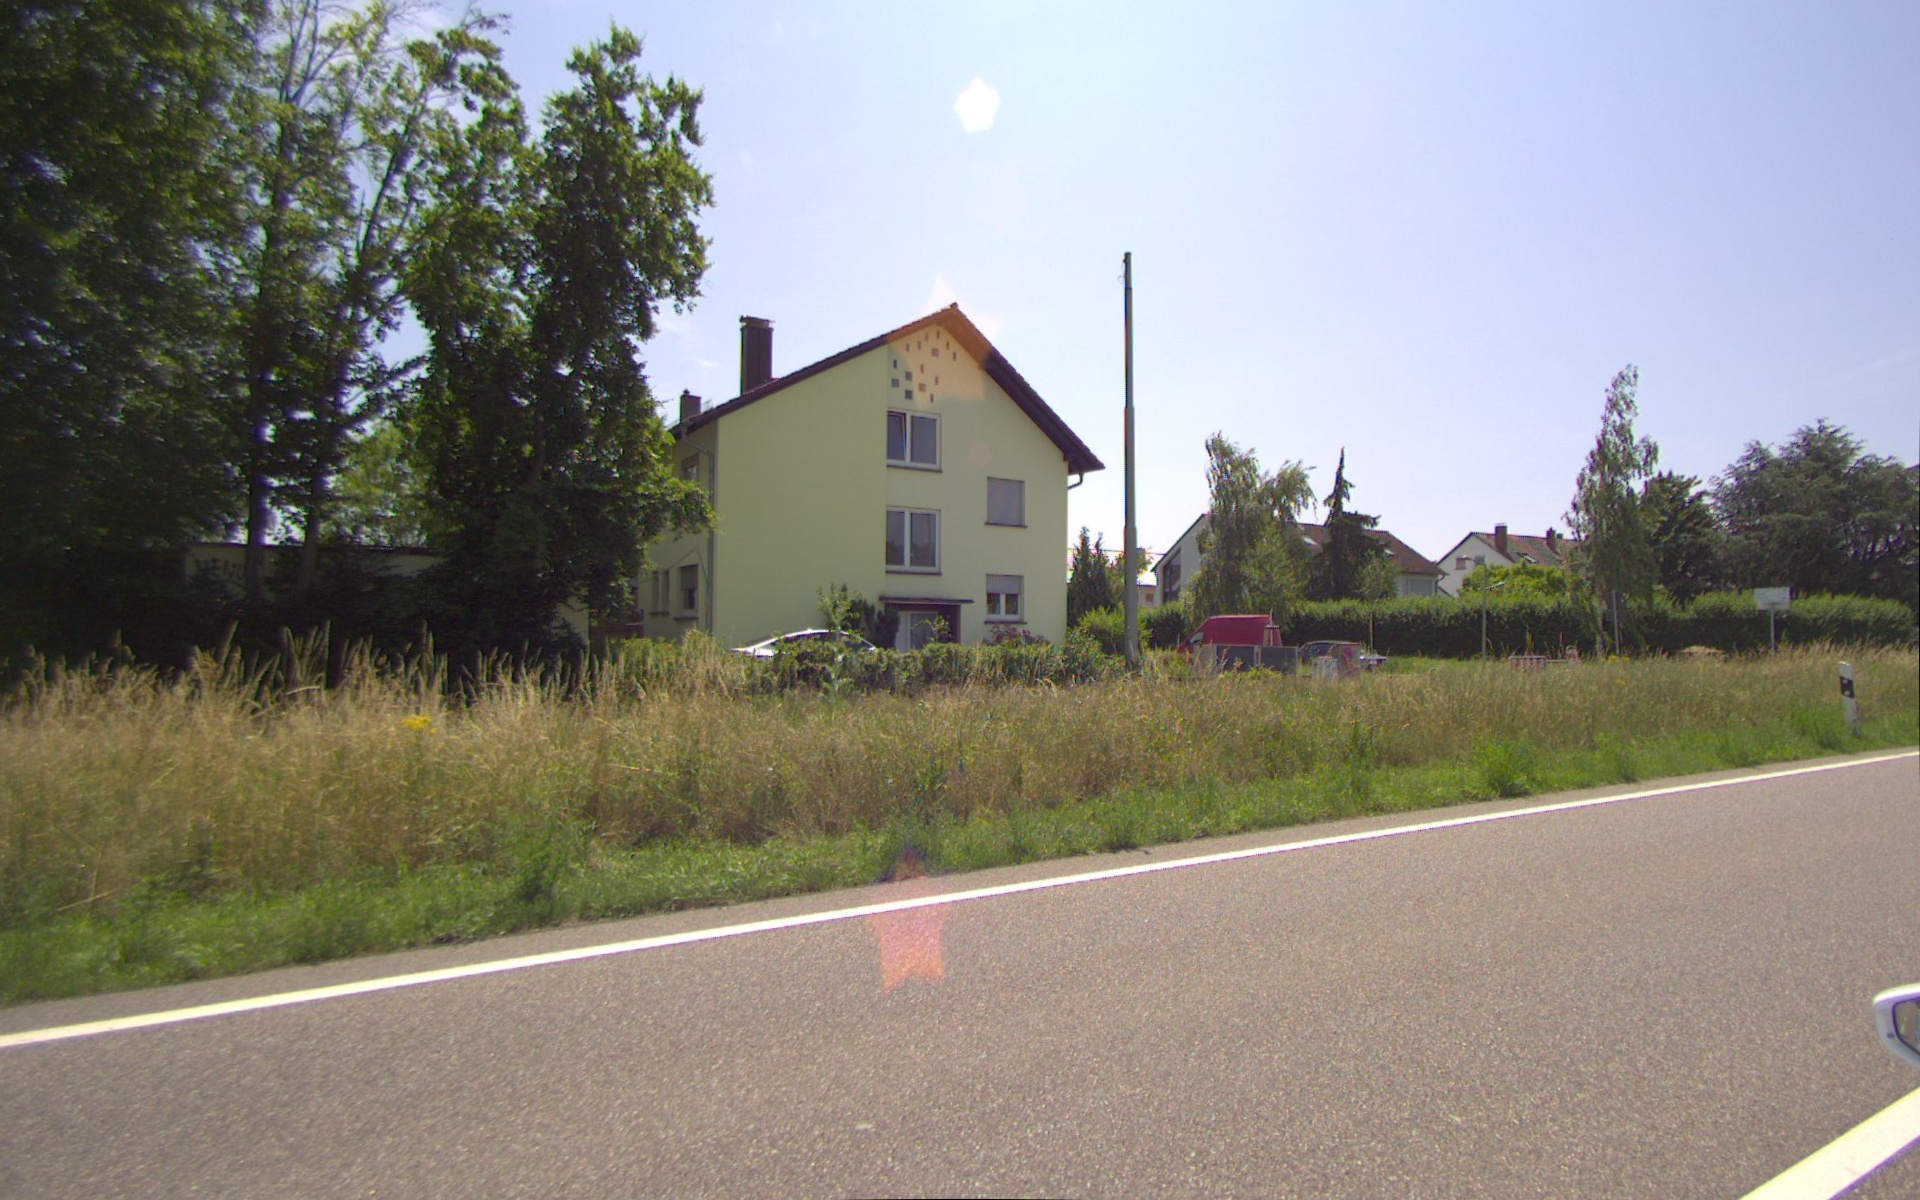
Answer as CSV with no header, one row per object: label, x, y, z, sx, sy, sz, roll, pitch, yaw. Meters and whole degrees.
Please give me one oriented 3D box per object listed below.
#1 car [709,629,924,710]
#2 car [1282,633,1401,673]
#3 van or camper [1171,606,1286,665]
car,-2.972,1.398,21.063,4.138,1.511,1.698,2,-1,-31
car,14.896,2.050,39.392,1.979,1.372,3.963,2,-1,-33
van or camper,11.679,1.494,43.988,1.979,2.420,4.725,2,-1,-33
